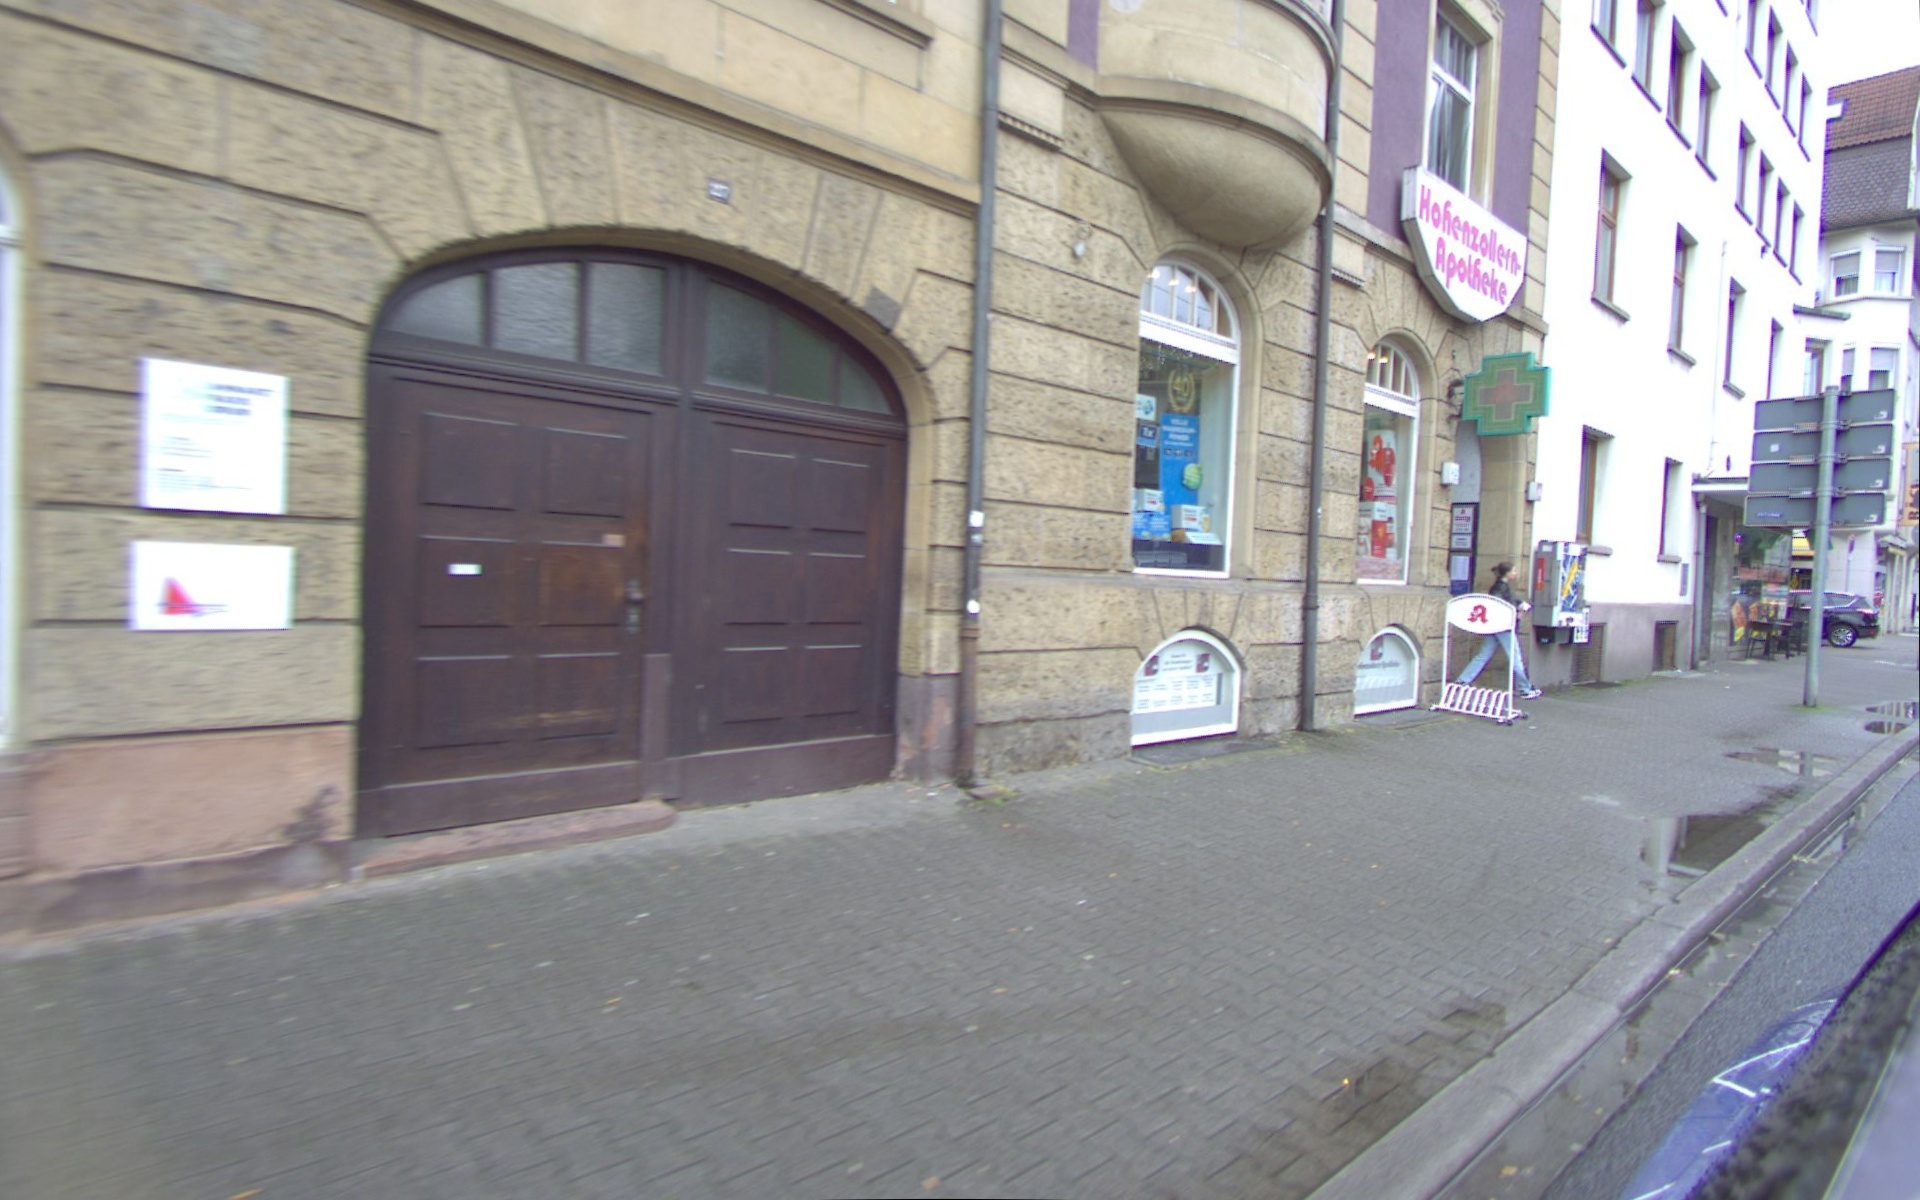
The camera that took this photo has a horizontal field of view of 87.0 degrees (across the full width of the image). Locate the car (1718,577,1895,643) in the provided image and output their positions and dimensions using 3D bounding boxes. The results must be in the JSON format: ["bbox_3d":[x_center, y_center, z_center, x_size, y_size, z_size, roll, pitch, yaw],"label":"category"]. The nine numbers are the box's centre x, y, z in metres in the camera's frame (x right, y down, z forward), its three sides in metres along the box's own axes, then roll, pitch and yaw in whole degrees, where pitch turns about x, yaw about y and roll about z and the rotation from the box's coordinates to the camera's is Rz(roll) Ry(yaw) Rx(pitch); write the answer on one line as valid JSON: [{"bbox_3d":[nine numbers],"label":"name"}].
[{"bbox_3d":[26.600,0.257,31.997,4.132,1.793,1.847,4,2,39],"label":"car"}]

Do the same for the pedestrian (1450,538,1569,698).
[{"bbox_3d":[6.379,0.184,11.786,0.886,1.741,0.673,4,2,7],"label":"pedestrian"}]
